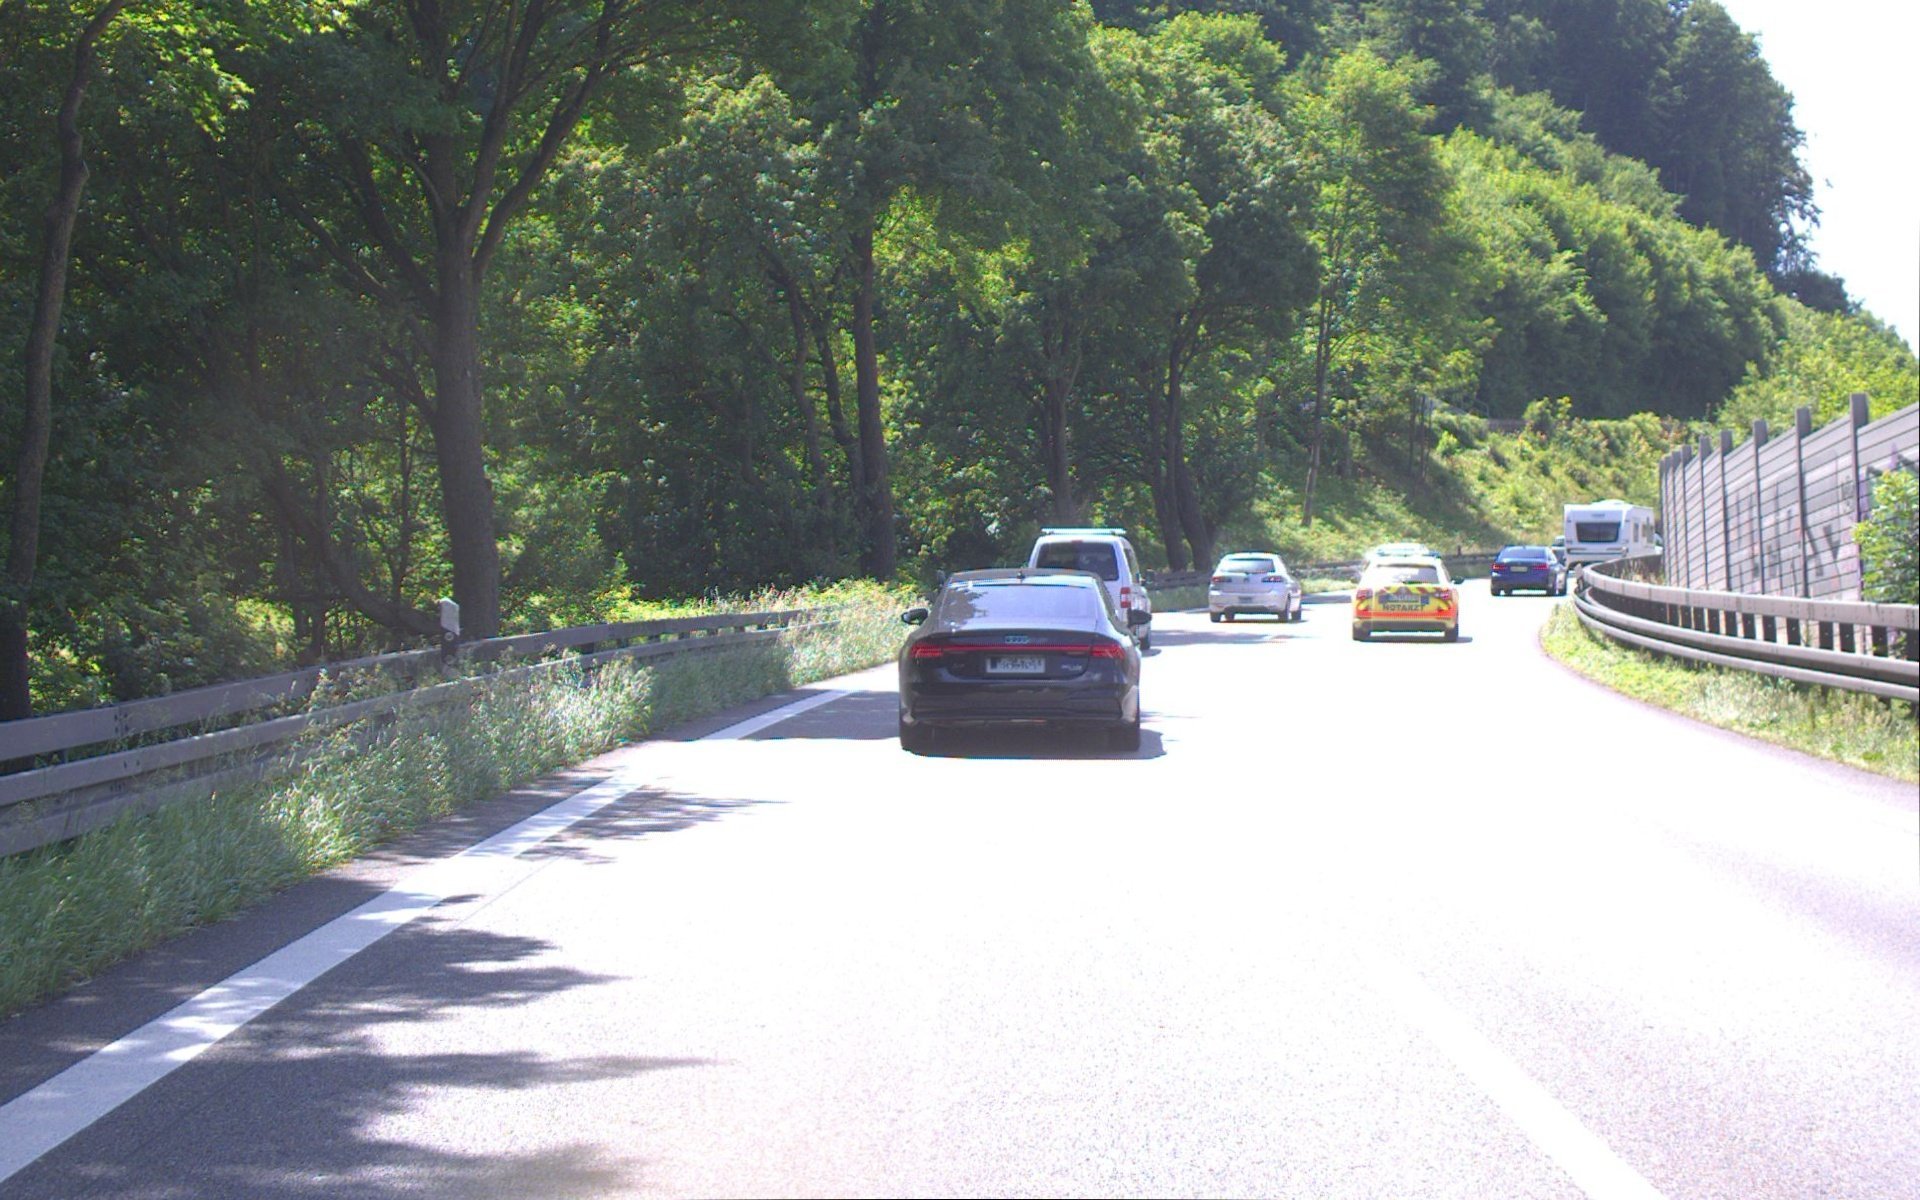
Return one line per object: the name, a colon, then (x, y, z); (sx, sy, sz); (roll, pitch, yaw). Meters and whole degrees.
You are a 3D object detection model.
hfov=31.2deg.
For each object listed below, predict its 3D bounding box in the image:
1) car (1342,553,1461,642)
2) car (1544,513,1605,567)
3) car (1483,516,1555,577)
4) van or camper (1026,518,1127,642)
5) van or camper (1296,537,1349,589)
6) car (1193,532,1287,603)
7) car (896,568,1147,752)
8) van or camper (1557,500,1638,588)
car: (7.754, -0.061, 60.156); (1.863, 1.483, 3.998); (-1, 0, 10)
car: (23.729, -2.307, 132.644); (1.995, 2.007, 3.997); (-1, 0, 14)
car: (16.141, -1.557, 99.097); (1.774, 1.631, 3.998); (-3, 1, 12)
van or camper: (1.815, -0.304, 52.688); (1.392, 1.809, 3.999); (-1, 0, 4)
van or camper: (11.065, -1.130, 104.849); (1.558, 1.529, 3.504); (-1, 0, 7)
car: (5.906, -0.683, 72.108); (1.747, 1.426, 3.999); (-1, 0, 8)
car: (0.423, 0.439, 27.709); (1.837, 1.345, 4.000); (1, 0, -1)
van or camper: (21.868, -1.888, 117.683); (2.457, 2.908, 6.122); (-1, 0, 13)
